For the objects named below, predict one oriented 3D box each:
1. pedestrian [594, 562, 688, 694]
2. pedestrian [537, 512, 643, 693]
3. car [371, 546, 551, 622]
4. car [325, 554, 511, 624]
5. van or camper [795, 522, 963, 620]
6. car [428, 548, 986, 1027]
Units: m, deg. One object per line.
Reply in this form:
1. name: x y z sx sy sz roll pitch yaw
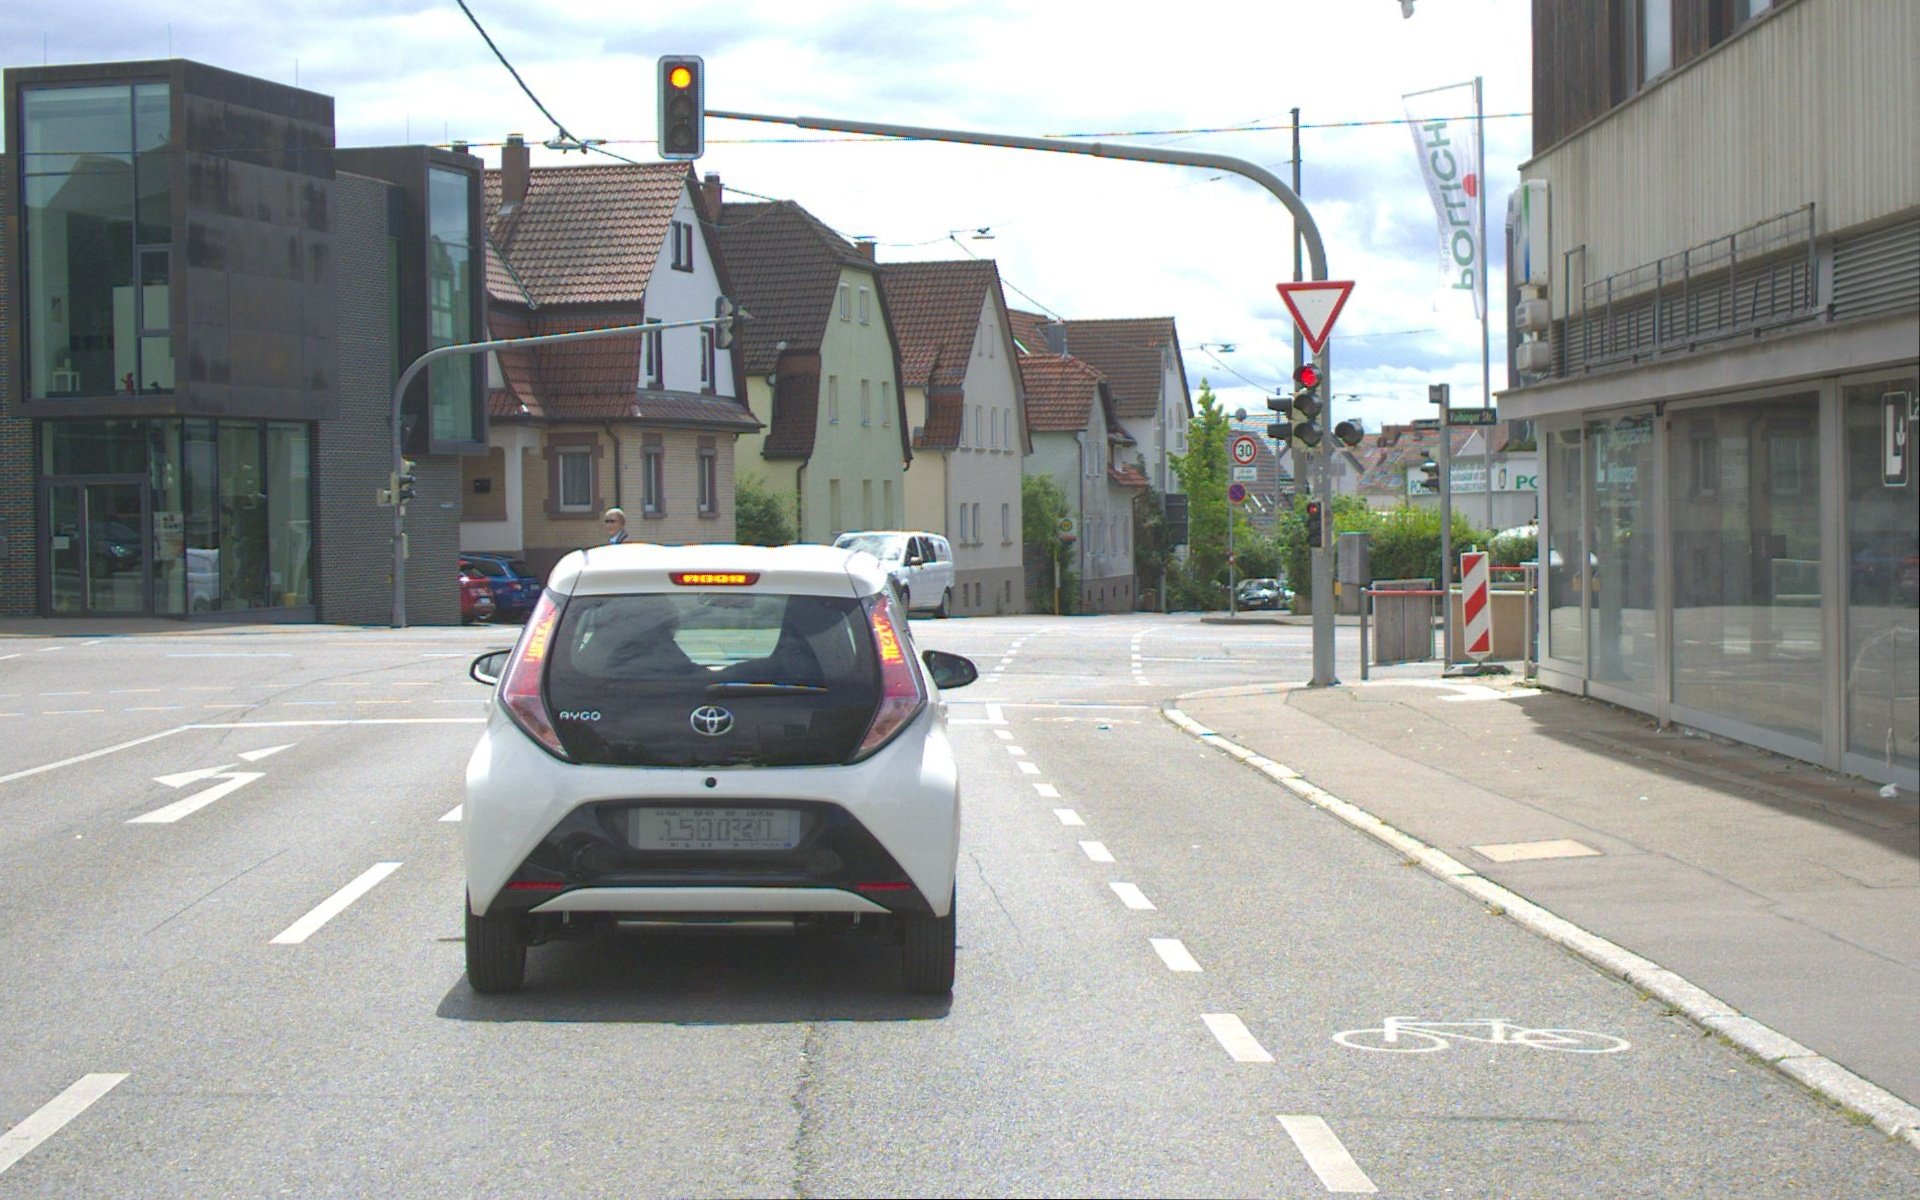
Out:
1. pedestrian: -3.018 0.256 32.500 0.733 1.217 0.646 -1 1 -21
2. pedestrian: -3.567 0.014 33.094 0.822 1.715 0.818 -1 1 -21
3. car: -11.195 -0.364 77.213 3.616 1.600 1.691 1 1 11
4. car: -11.761 -0.246 74.746 3.616 1.414 1.691 1 1 11
5. van or camper: -1.632 -0.613 71.641 2.117 1.919 5.282 1 1 14
6. car: -0.859 0.558 12.275 1.697 1.451 3.299 1 1 -3
